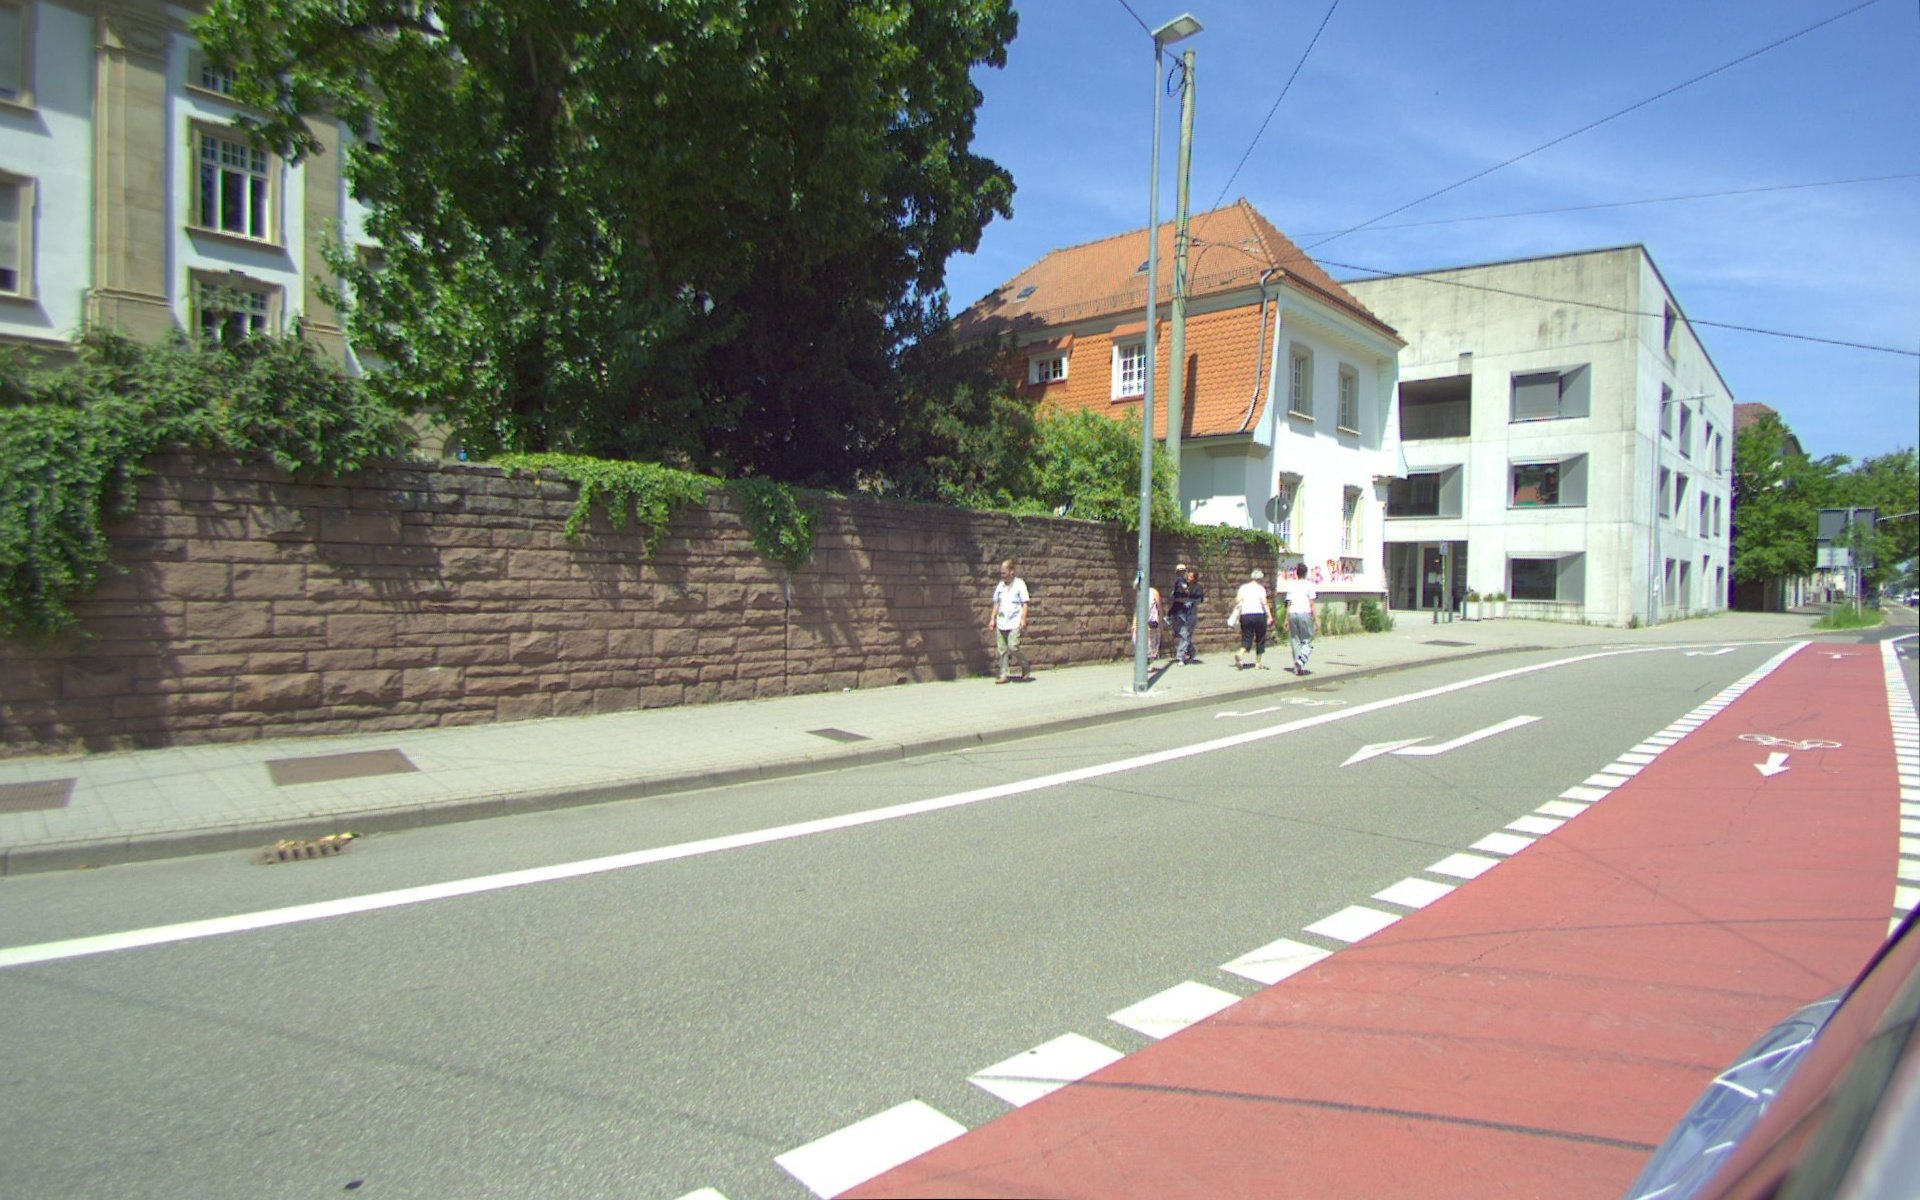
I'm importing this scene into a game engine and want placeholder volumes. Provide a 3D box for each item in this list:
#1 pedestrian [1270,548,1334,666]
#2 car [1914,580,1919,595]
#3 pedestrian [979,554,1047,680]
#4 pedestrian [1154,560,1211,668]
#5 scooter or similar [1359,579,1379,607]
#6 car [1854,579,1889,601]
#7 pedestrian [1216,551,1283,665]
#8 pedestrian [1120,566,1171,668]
[{"bbox_3d":[5.521,0.097,16.322,0.735,1.830,0.678,0,1,-43],"label":"pedestrian"},{"bbox_3d":[108.614,-1.414,113.993,1.616,1.730,3.376,1,2,44],"label":"car"},{"bbox_3d":[0.724,0.212,13.896,0.613,1.667,0.662,0,1,-42],"label":"pedestrian"},{"bbox_3d":[3.798,0.225,17.267,0.715,1.795,0.620,1,0,40],"label":"pedestrian"},{"bbox_3d":[17.001,-0.307,42.098,0.531,1.154,0.951,1,2,37],"label":"scooter or similar"},{"bbox_3d":[67.611,-0.747,75.066,1.859,1.597,4.801,1,1,43],"label":"car"},{"bbox_3d":[4.812,0.118,16.827,0.688,1.830,0.815,0,1,-43],"label":"pedestrian"},{"bbox_3d":[2.896,0.256,15.807,0.587,1.552,0.516,0,1,-42],"label":"pedestrian"}]
